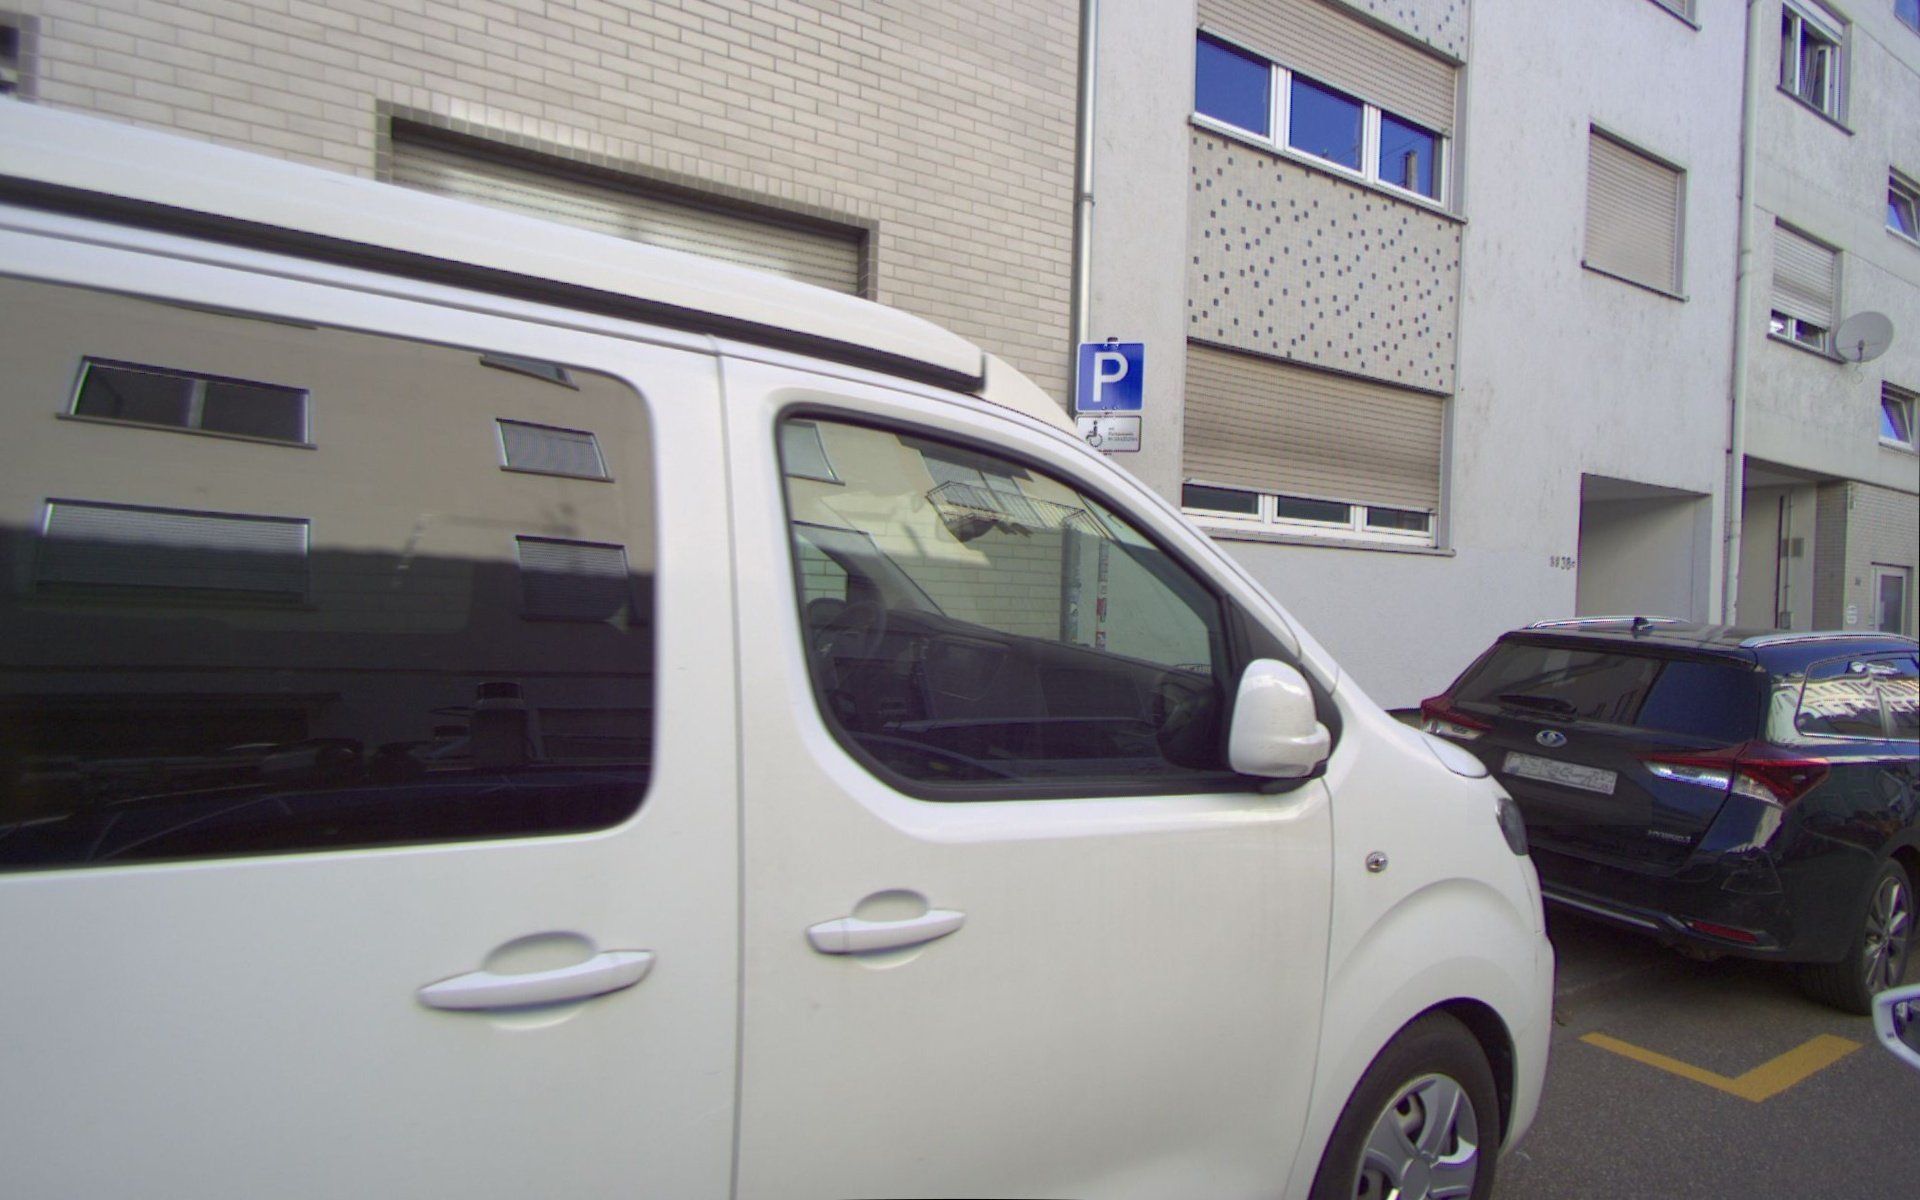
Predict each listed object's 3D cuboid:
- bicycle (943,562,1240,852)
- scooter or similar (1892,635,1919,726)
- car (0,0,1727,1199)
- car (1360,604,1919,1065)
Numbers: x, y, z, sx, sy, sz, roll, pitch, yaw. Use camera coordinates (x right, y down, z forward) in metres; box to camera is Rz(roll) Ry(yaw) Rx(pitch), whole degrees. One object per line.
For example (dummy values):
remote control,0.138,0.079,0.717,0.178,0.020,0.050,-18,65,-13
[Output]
bicycle,0.823,0.583,6.019,1.781,1.529,0.553,2,2,-34
scooter or similar,14.302,1.174,14.477,1.208,1.295,0.438,1,-1,11
car,-0.740,0.408,1.897,4.729,1.985,1.883,1,2,-32
car,4.161,0.836,5.147,4.253,1.469,1.697,2,0,-32
